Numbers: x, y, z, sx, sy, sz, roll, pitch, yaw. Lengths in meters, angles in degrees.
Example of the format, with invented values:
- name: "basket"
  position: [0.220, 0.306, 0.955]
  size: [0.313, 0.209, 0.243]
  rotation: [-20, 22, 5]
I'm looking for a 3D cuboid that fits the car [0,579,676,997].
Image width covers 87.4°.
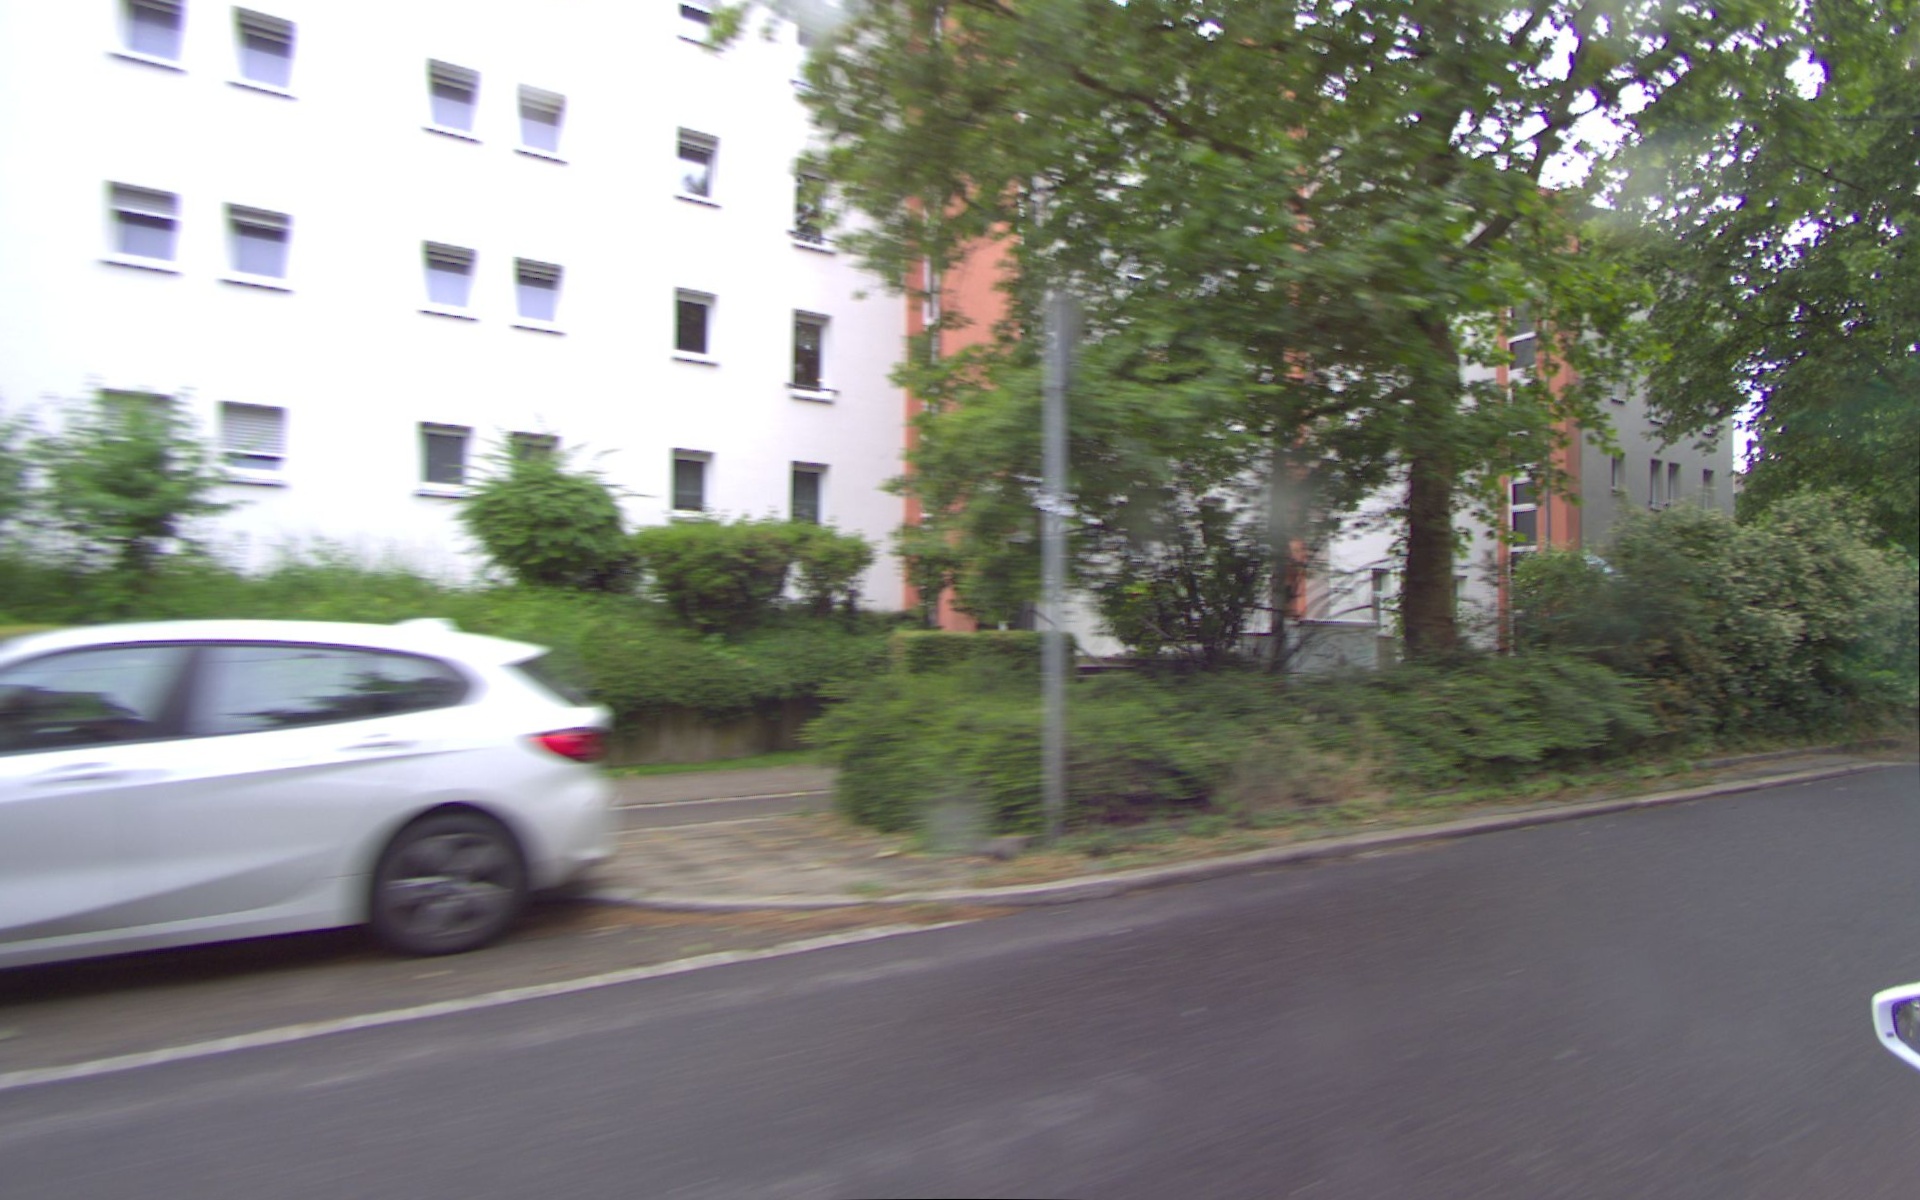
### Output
- name: "car"
  position: [-3.614, 0.745, 4.484]
  size: [4.258, 1.486, 1.710]
  rotation: [1, -5, -30]
